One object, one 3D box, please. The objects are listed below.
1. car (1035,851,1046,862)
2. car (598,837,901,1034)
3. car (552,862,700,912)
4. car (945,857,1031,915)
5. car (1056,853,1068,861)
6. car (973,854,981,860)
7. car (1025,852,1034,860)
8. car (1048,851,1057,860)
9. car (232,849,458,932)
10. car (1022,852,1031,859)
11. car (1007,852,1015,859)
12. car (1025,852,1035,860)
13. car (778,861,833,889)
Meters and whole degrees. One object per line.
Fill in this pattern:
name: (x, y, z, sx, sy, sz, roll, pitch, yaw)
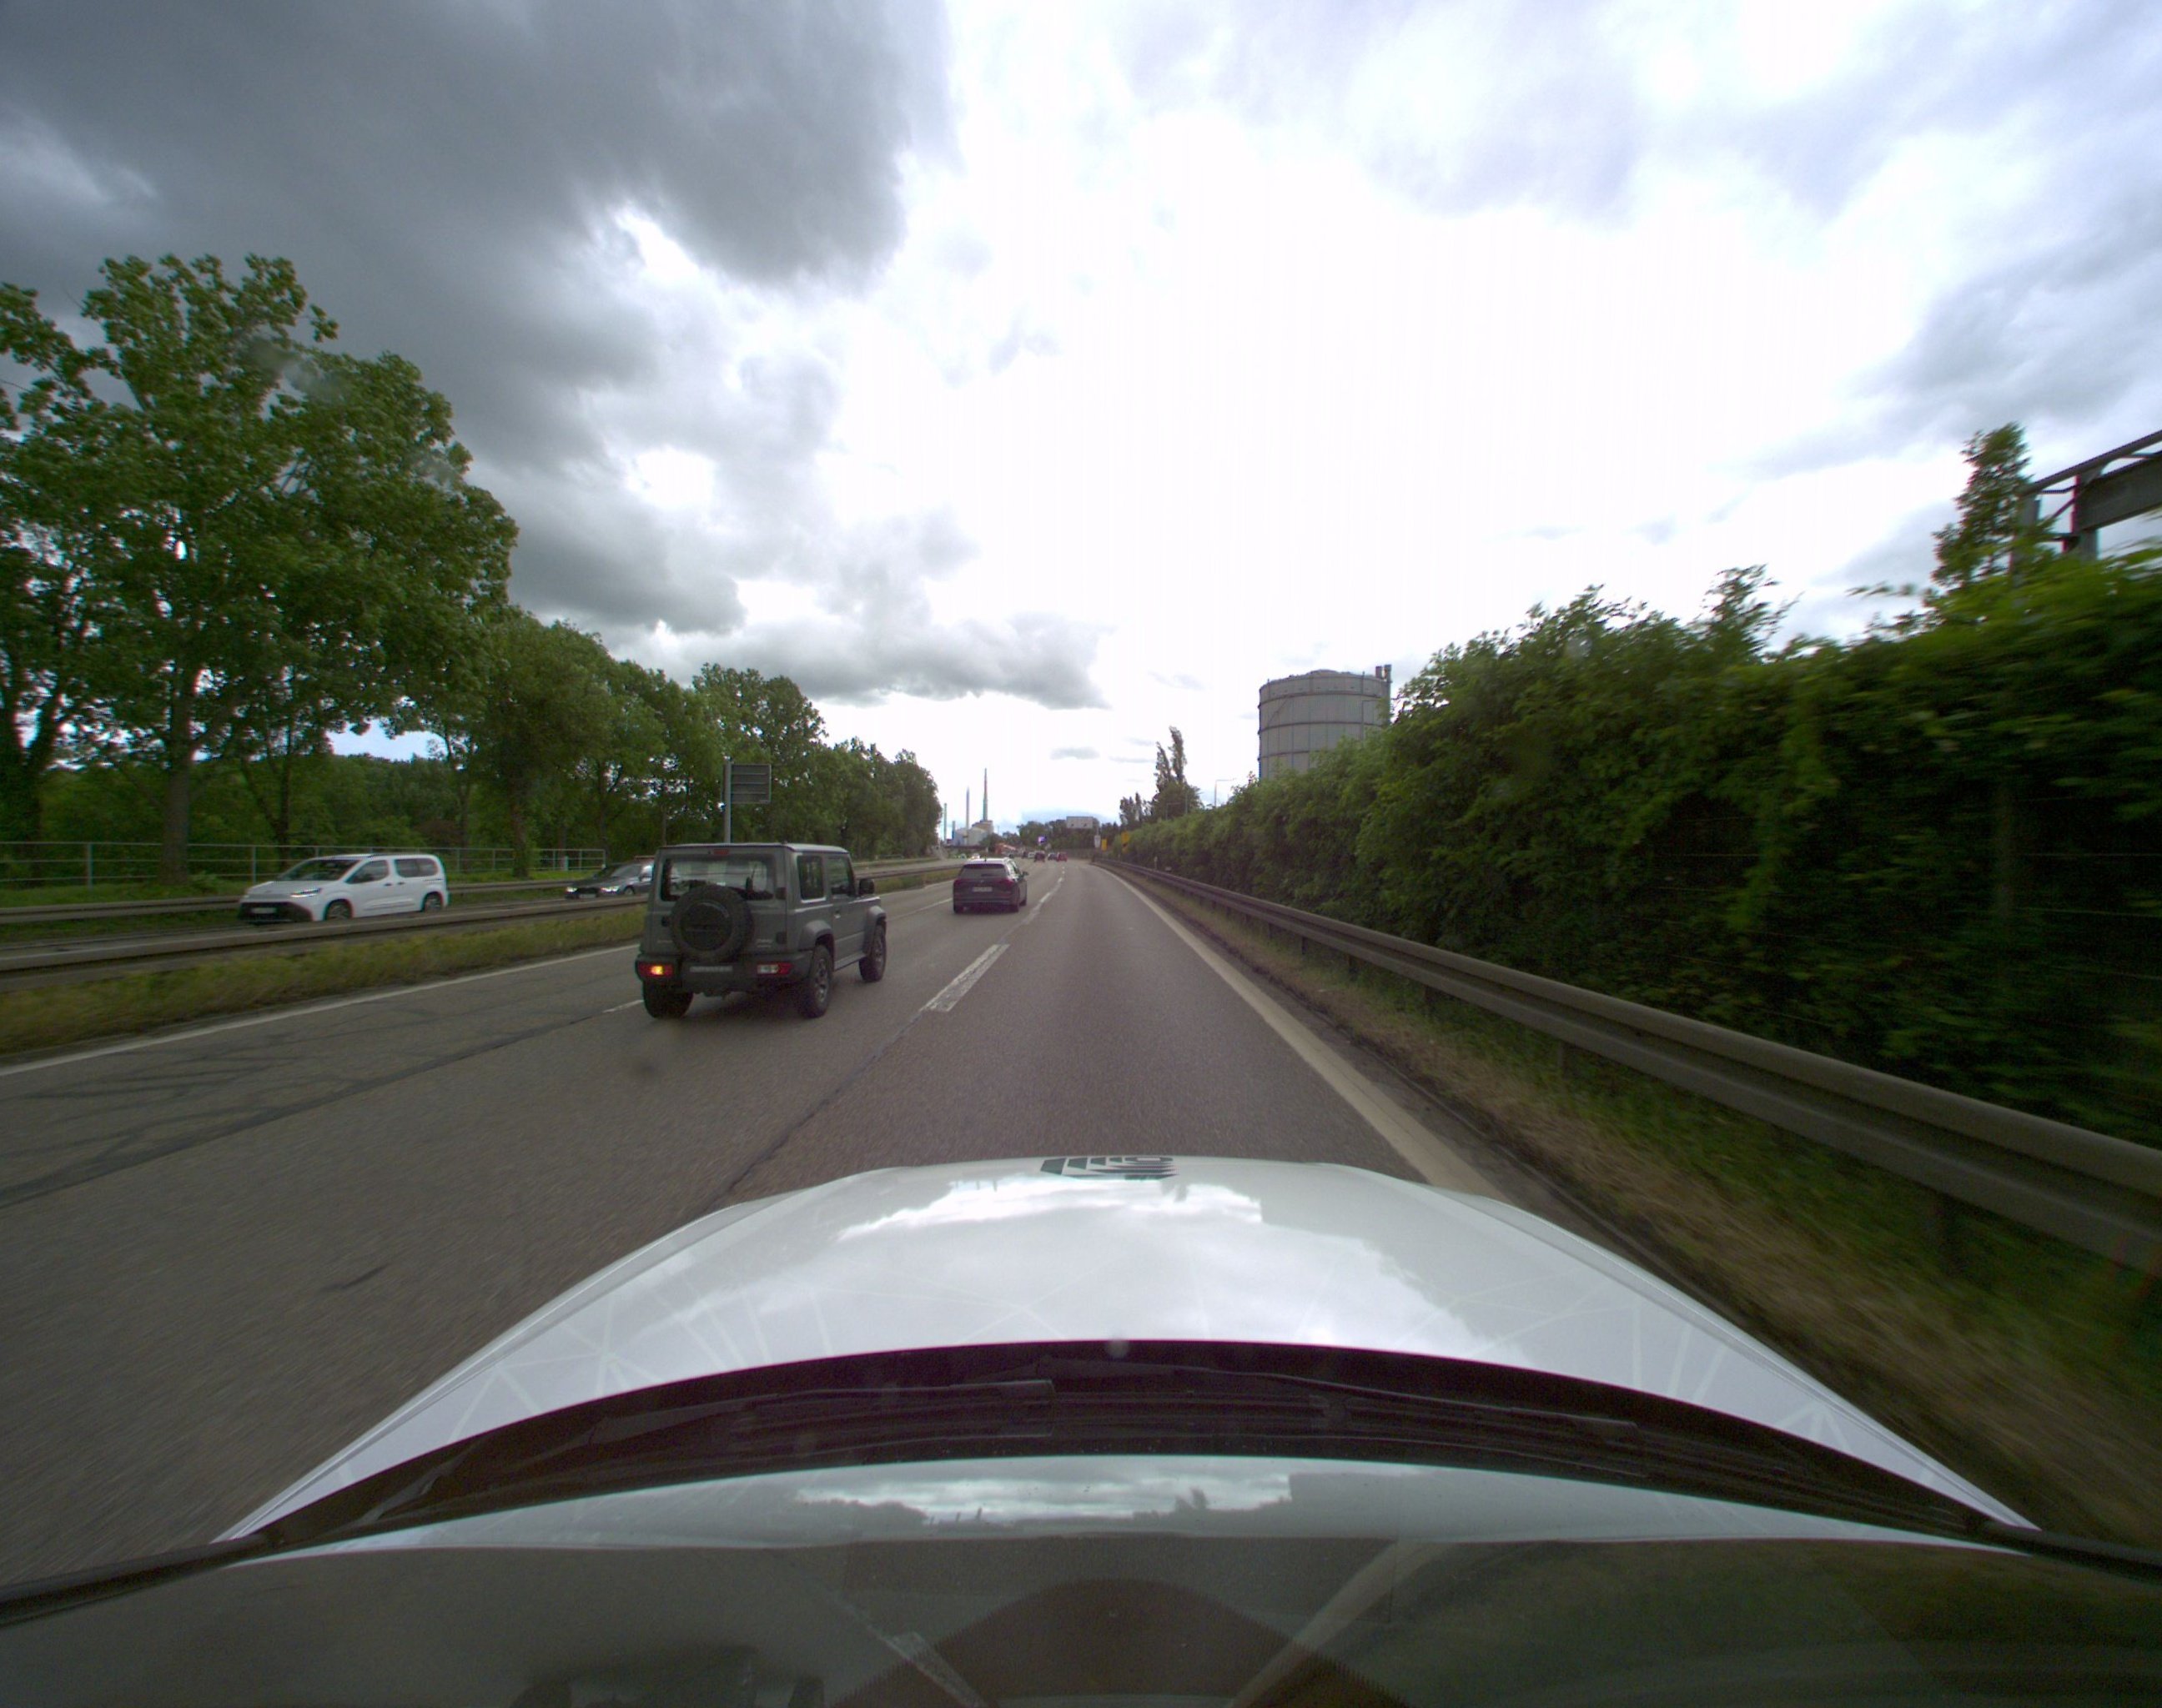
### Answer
car: (-6.852, 0.377, 137.429, 1.694, 1.742, 3.995, -1, 0, -3)
car: (-3.325, 0.703, 9.083, 1.692, 1.686, 4.000, -1, 0, 0)
car: (-15.194, 1.023, 27.656, 1.855, 1.465, 5.551, -1, 0, 1)
car: (-2.514, 0.814, 23.148, 1.839, 1.423, 4.900, 1, 0, 0)
car: (-3.319, 0.517, 139.256, 1.969, 1.423, 4.896, -1, 0, -2)
car: (-22.962, 0.685, 179.977, 1.611, 1.386, 3.728, 0, 0, -3)
car: (-12.204, 0.492, 194.066, 1.697, 1.742, 4.380, -1, 0, -8)
car: (-5.820, 0.299, 167.048, 1.694, 1.742, 4.388, -1, 0, -3)
car: (-18.616, 0.832, 20.947, 1.605, 1.883, 4.562, -1, 0, 1)
car: (-14.333, 0.373, 214.364, 2.013, 1.934, 4.885, -1, 0, -9)
car: (-19.219, 0.347, 223.267, 1.698, 1.742, 4.377, -1, 0, -11)
car: (-12.176, 0.432, 195.189, 2.012, 1.934, 4.886, -1, 0, -8)
car: (-15.083, 1.129, 44.850, 1.655, 1.424, 3.911, -1, 0, 0)
